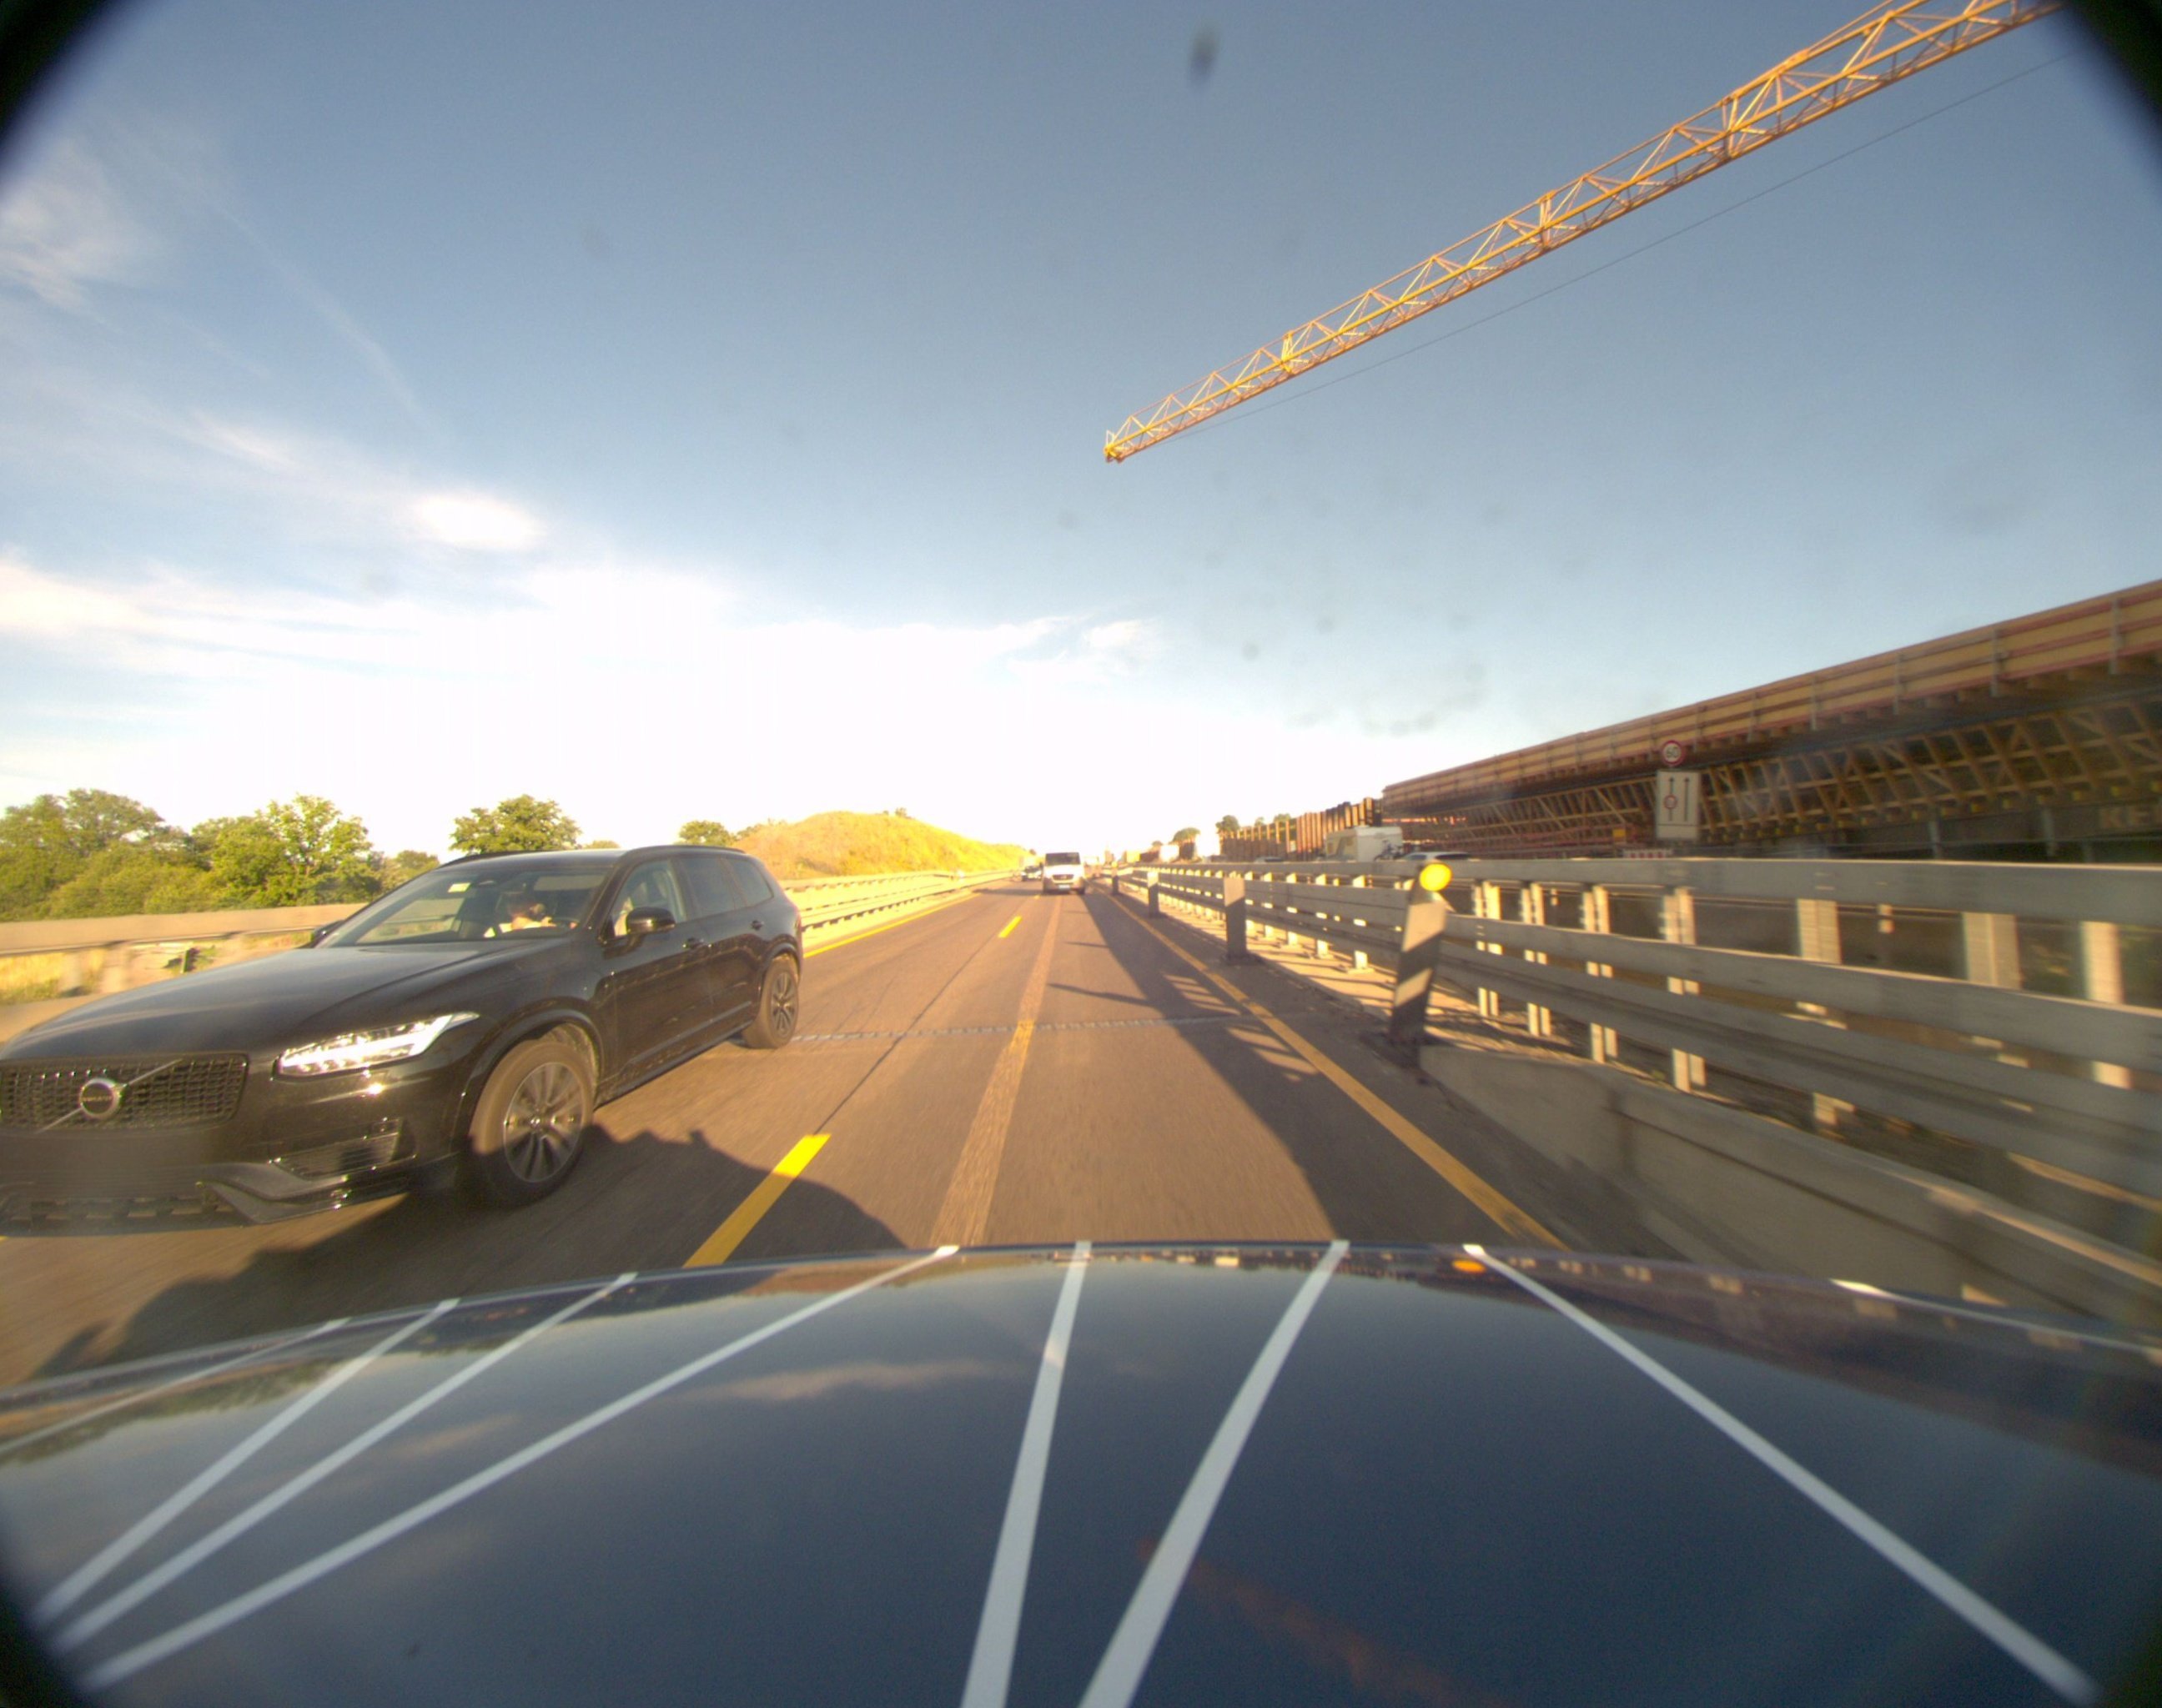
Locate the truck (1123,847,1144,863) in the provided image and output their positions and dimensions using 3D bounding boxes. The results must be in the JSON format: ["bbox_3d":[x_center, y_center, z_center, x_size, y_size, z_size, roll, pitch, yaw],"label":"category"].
[{"bbox_3d":[11.367,0.356,165.838,3.344,3.223,10.972,-3,0,-1],"label":"truck"}]

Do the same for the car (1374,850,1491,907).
[{"bbox_3d":[11.216,0.742,24.580,1.734,1.591,4.112,-3,0,-1],"label":"car"}]

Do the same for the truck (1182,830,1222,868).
[{"bbox_3d":[12.677,-0.440,80.204,2.796,3.703,7.162,-3,0,-1],"label":"truck"}]

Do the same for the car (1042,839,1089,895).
[{"bbox_3d":[-0.738,0.612,38.050,2.110,2.518,5.220,-3,0,0],"label":"car"}]

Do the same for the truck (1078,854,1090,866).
[{"bbox_3d":[0.502,1.239,155.443,1.999,2.109,7.562,-3,-1,-2],"label":"truck"}]

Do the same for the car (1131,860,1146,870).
[{"bbox_3d":[10.621,2.033,140.483,1.999,1.630,3.998,-3,0,-5],"label":"car"}]

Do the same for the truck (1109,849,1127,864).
[{"bbox_3d":[10.063,0.602,205.938,3.922,3.728,9.726,-3,0,-1],"label":"truck"}]

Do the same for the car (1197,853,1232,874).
[{"bbox_3d":[10.218,0.737,58.418,1.620,1.511,4.111,-3,0,-4],"label":"car"}]

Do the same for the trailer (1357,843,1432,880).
[{"bbox_3d":[14.033,0.331,34.119,2.328,1.504,2.144,-3,0,-3],"label":"trailer"}]

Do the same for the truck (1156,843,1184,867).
[{"bbox_3d":[12.449,0.169,107.052,2.774,3.223,7.162,-3,0,-1],"label":"truck"}]

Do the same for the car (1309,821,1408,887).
[{"bbox_3d":[13.781,0.015,38.318,2.334,2.949,6.161,-3,0,-3],"label":"car"}]

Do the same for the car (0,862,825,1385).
[{"bbox_3d":[-3.489,0.961,5.028,1.902,1.703,4.887,-3,0,-1],"label":"car"}]

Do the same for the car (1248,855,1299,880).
[{"bbox_3d":[10.921,0.766,43.301,1.734,1.269,4.112,-3,0,-1],"label":"car"}]

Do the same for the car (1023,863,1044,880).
[{"bbox_3d":[-4.346,1.606,70.195,1.791,1.477,4.000,-3,0,-2],"label":"car"}]
